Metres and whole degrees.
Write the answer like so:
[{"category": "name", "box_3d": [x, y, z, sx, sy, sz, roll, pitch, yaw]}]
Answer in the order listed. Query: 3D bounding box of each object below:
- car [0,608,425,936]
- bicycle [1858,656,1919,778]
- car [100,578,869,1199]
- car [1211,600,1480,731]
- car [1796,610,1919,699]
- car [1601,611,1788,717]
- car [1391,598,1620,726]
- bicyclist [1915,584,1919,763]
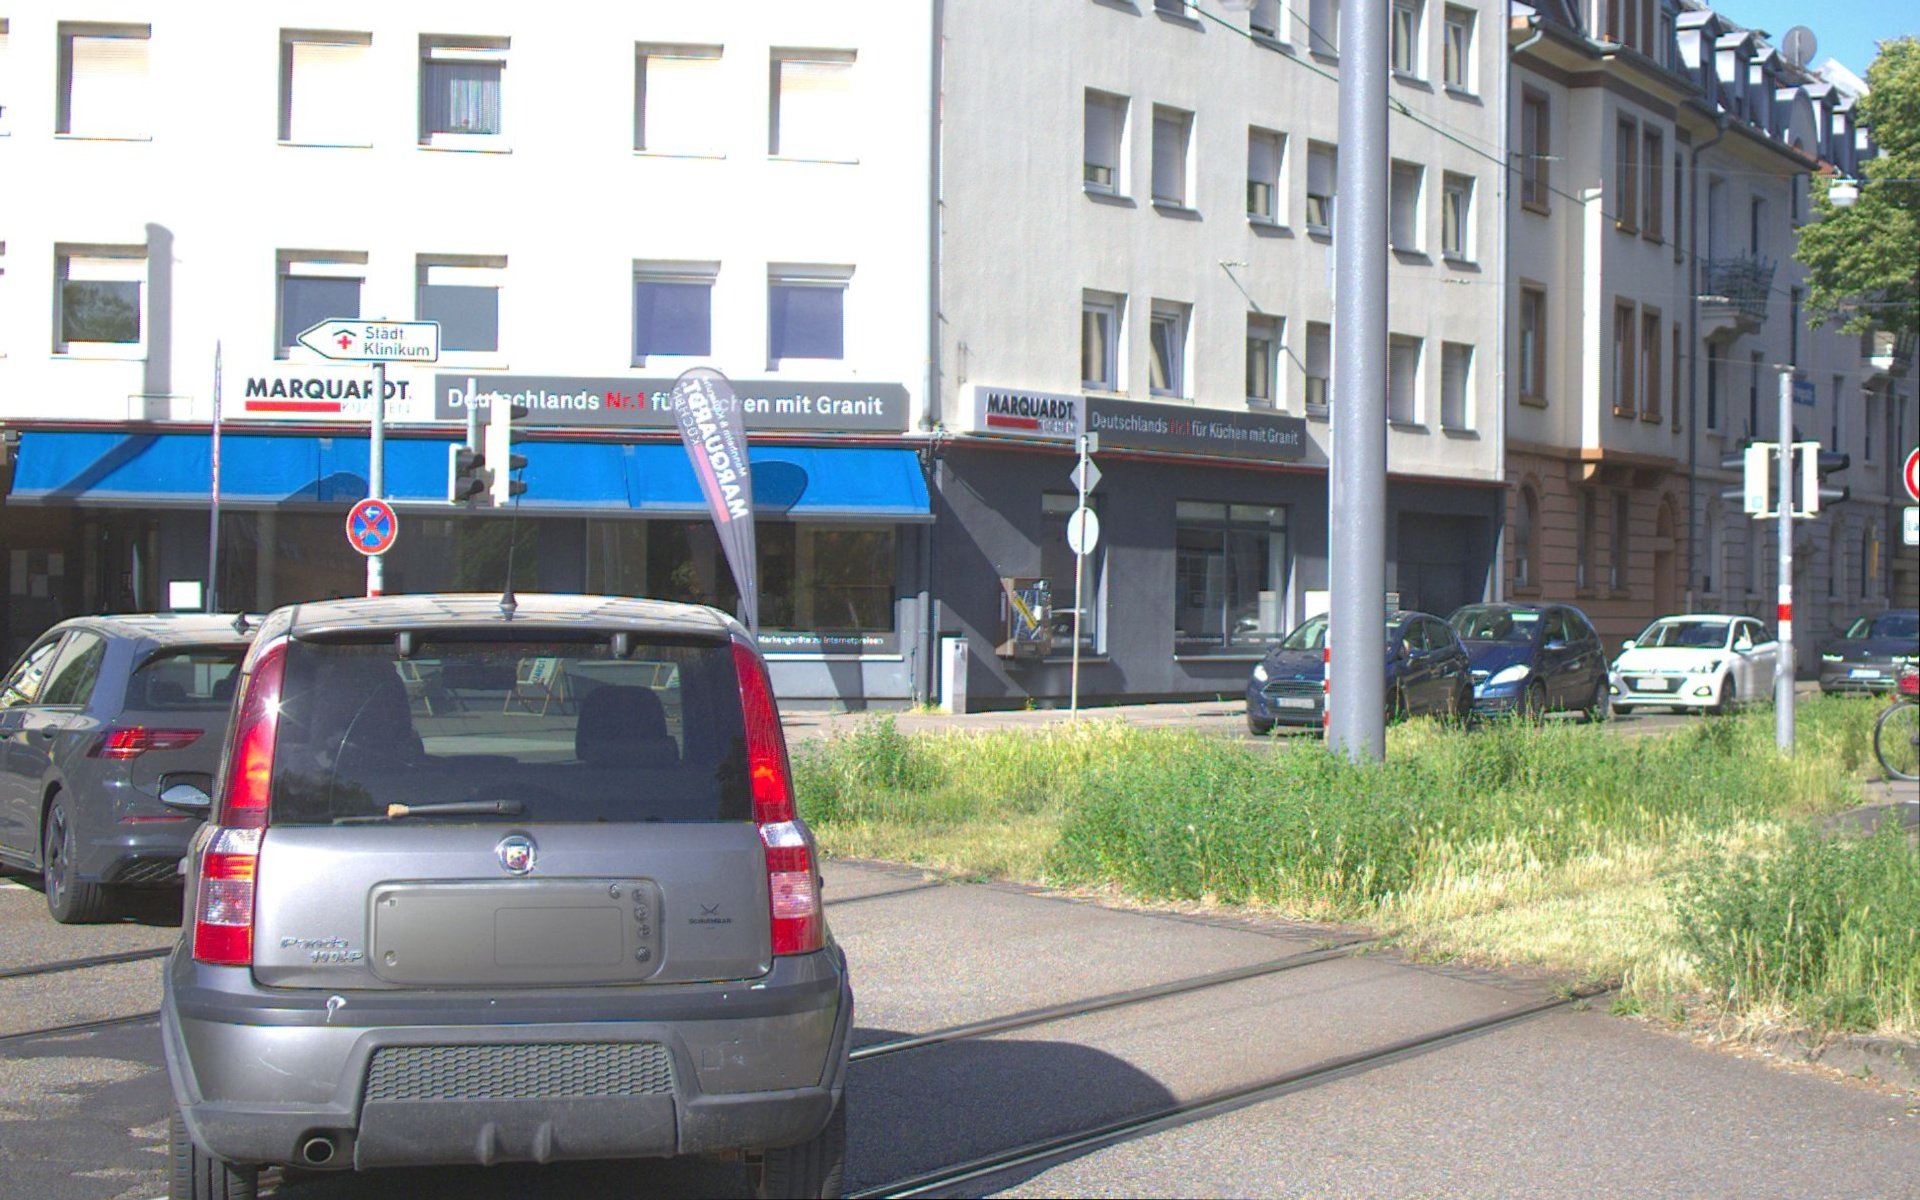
[{"category": "car", "box_3d": [-4.021, 0.775, 17.258, 1.621, 1.424, 3.689, 1, 0, -26]}, {"category": "bicycle", "box_3d": [8.782, 1.021, 29.756, 1.851, 1.029, 0.589, 1, 0, 2]}, {"category": "car", "box_3d": [-1.197, 0.713, 9.188, 1.659, 1.505, 3.252, 1, 0, -6]}, {"category": "car", "box_3d": [4.469, 0.727, 39.427, 1.793, 1.391, 3.719, 1, 0, 28]}, {"category": "car", "box_3d": [16.250, 0.940, 60.457, 1.997, 1.468, 3.993, 1, 0, 29]}, {"category": "car", "box_3d": [10.899, 0.929, 50.877, 1.793, 1.478, 3.526, 1, 0, 28]}, {"category": "car", "box_3d": [7.129, 0.777, 44.643, 1.793, 1.560, 3.760, 1, 0, 28]}, {"category": "bicyclist", "box_3d": [8.763, 0.645, 29.759, 0.821, 1.554, 0.562, 1, 0, 2]}]
